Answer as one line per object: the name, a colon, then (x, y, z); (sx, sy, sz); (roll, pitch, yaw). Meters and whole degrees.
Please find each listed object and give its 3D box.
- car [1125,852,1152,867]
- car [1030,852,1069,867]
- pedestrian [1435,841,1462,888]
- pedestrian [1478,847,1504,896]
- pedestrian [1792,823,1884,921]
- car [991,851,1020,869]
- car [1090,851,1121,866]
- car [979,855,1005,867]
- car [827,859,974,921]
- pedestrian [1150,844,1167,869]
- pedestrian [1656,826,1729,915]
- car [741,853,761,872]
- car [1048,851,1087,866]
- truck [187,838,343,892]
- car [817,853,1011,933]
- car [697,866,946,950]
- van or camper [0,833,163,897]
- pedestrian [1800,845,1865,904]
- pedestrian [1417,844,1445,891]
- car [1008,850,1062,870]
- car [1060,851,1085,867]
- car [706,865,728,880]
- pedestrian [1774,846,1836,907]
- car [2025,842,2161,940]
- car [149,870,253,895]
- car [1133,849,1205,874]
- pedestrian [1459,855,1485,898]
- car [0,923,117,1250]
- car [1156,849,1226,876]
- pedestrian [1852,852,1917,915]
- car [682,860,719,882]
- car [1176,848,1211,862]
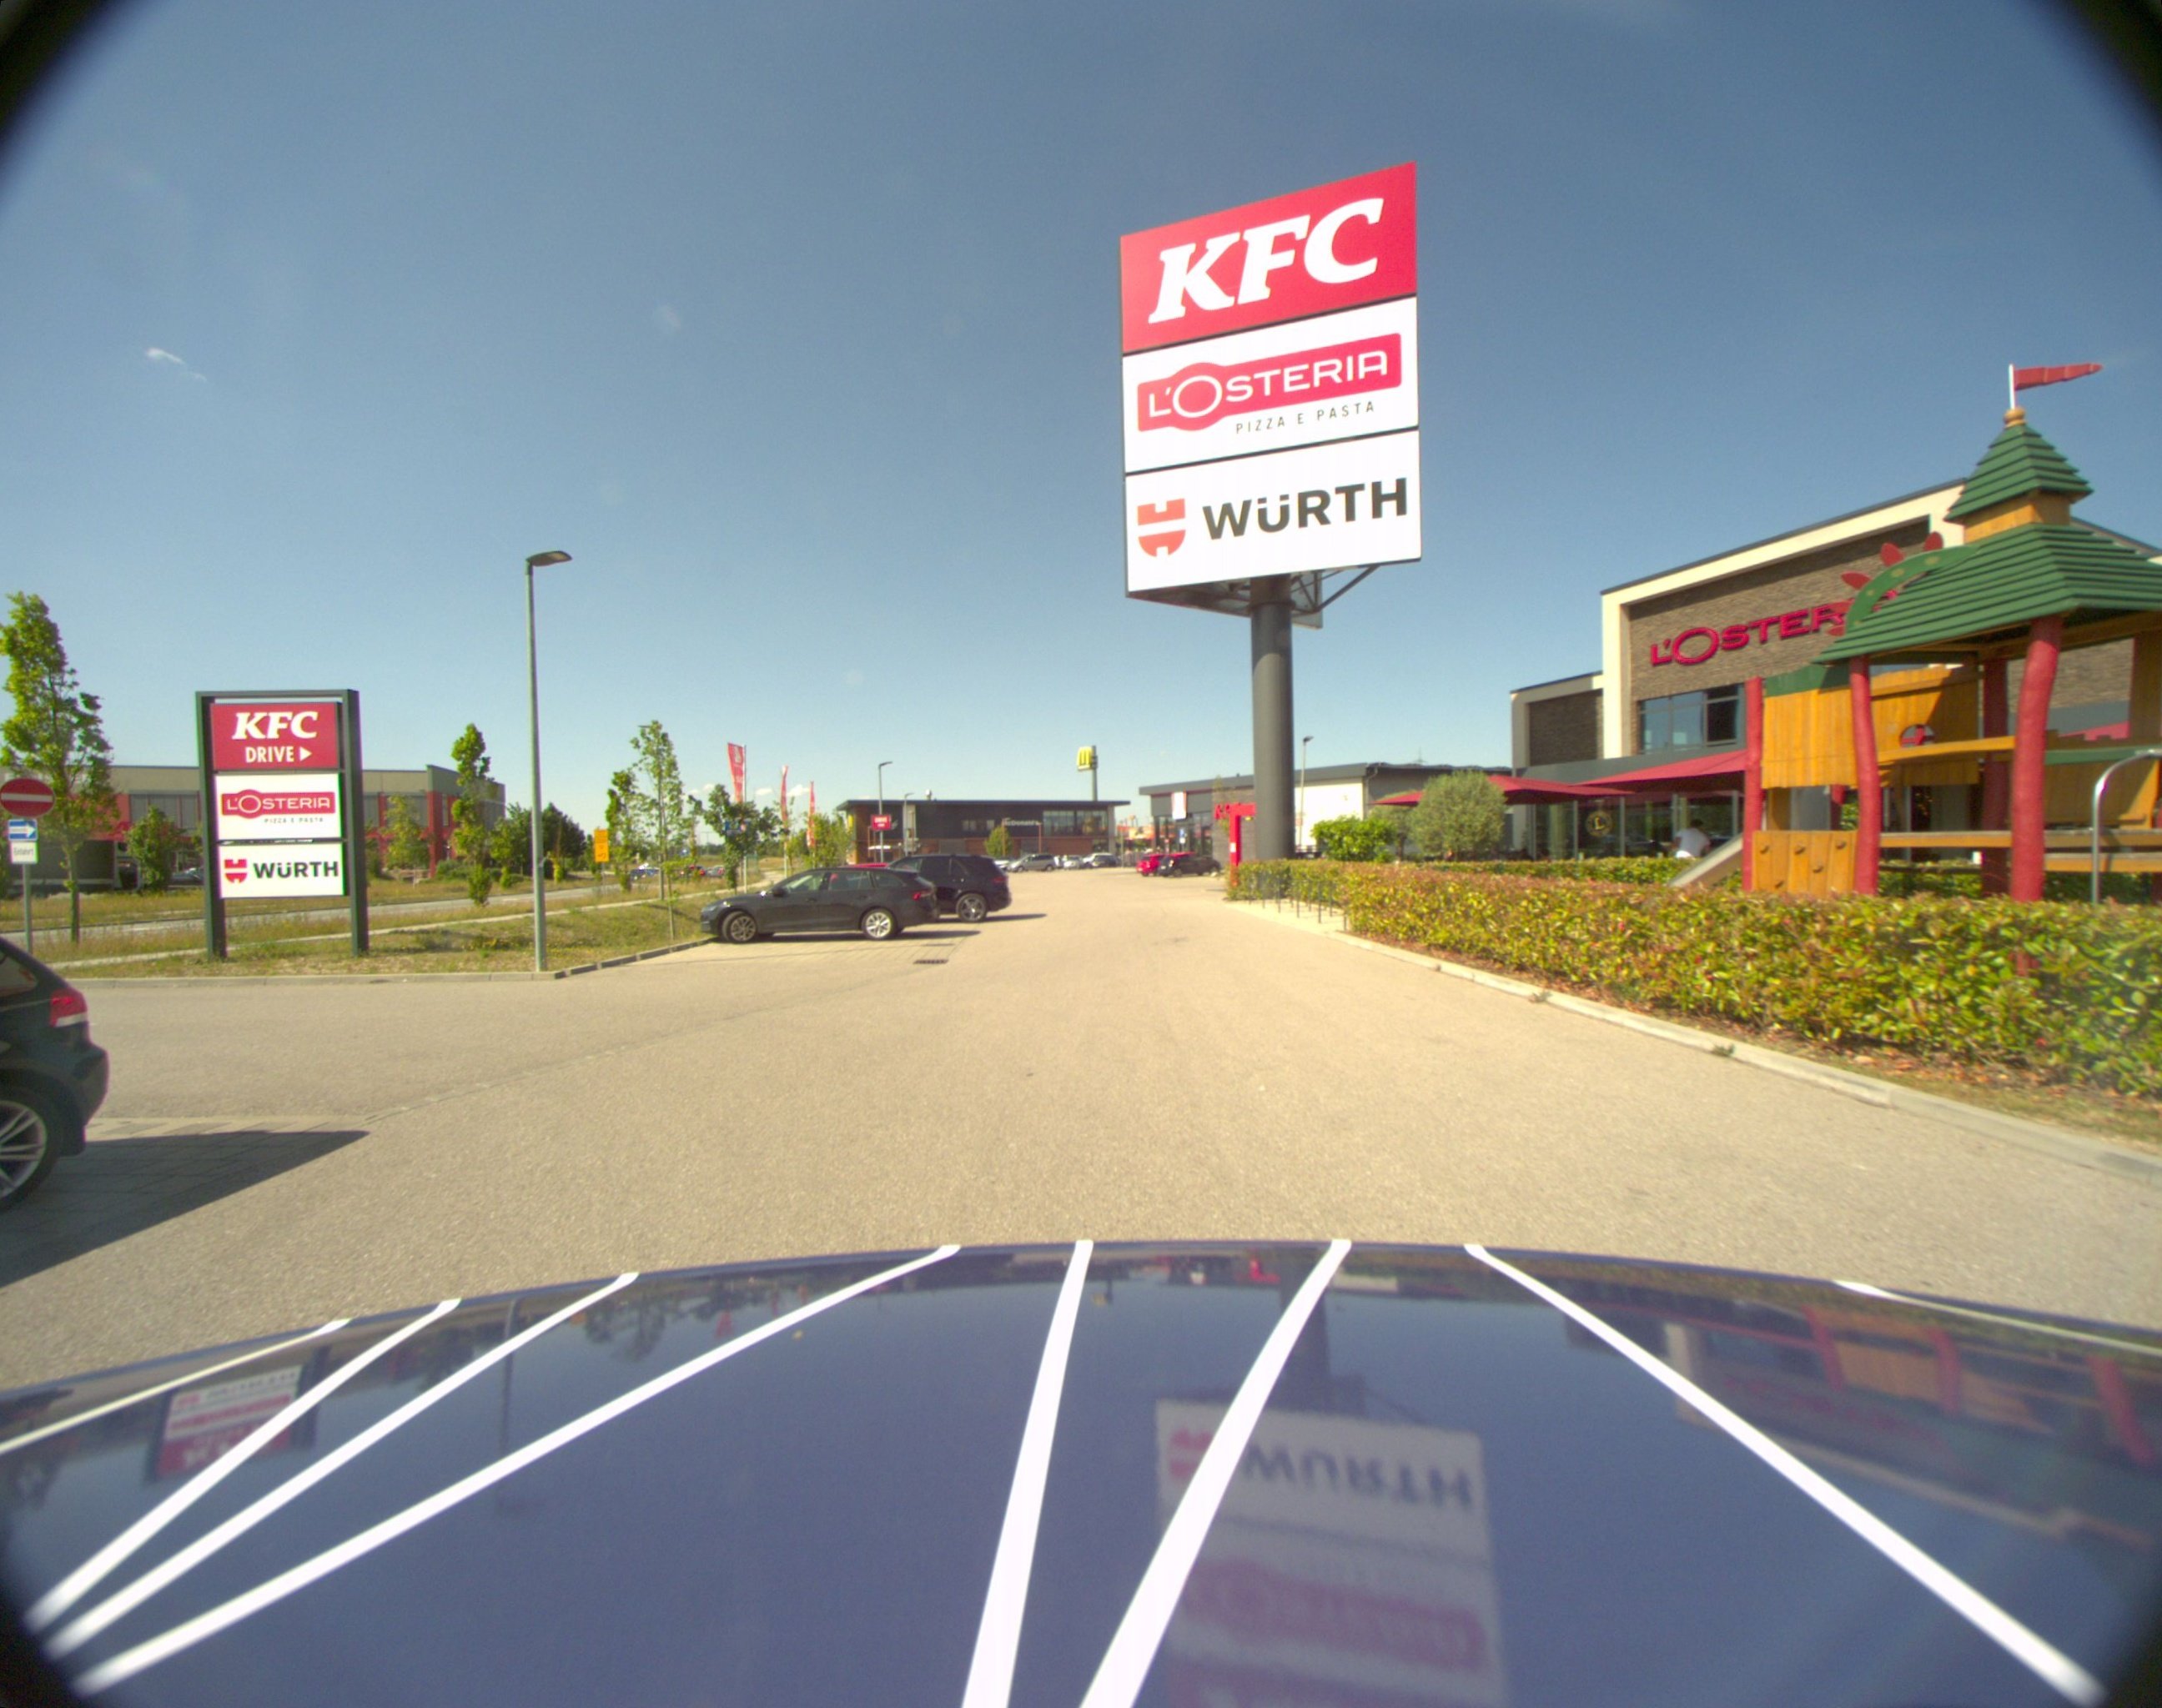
car: (6.150, 0.545, 80.749); (1.833, 1.451, 4.376); (-2, 0, 17)
car: (-3.569, 0.630, 86.153); (4.105, 1.484, 1.714); (-2, 1, 23)
pedestrian: (12.117, 0.345, 25.041); (0.526, 1.496, 0.568); (-2, 0, -25)
pedestrian: (11.624, 0.495, 21.515); (0.480, 1.359, 0.652); (-1, 0, 42)
pedestrian: (12.952, 0.303, 13.017); (0.785, 1.605, 0.762); (-2, 0, -5)
car: (-7.477, 0.554, 75.387); (1.973, 1.645, 4.209); (-2, 0, 7)
car: (2.648, 0.458, 80.463); (1.971, 1.478, 4.790); (-2, 0, 19)
car: (-11.420, 0.918, 97.820); (1.959, 1.457, 4.472); (-2, 0, 14)
car: (-5.339, 1.043, 22.984); (4.081, 1.599, 1.894); (-2, 0, -9)
pedestrian: (5.769, 0.212, 56.562); (0.727, 1.799, 0.992); (-3, 1, -26)
pedestrian: (12.084, 0.318, 15.038); (0.785, 1.677, 0.762); (-2, 0, -5)
car: (-40.415, 1.056, 93.097); (2.002, 2.184, 5.097); (-2, 0, -22)
car: (-1.528, 0.518, 87.809); (4.105, 1.506, 1.816); (-2, 1, 23)
truck: (-56.624, 0.723, 52.925); (6.837, 3.460, 2.764); (-2, 0, -18)
car: (-4.146, 0.952, 19.553); (4.589, 1.750, 1.894); (-2, 1, -6)
car: (-5.114, 1.042, 15.510); (4.454, 1.478, 1.876); (-1, 0, -6)
van or camper: (-53.681, 0.566, 39.053); (2.415, 3.083, 8.062); (-2, 0, 11)
pedestrian: (15.492, 0.418, 15.687); (0.709, 1.191, 0.617); (-2, 0, 7)
pedestrian: (11.363, 0.439, 24.664); (0.526, 1.496, 0.568); (-2, 0, -25)
car: (-4.355, 0.528, 71.648); (4.688, 1.738, 1.829); (-2, 1, -24)
car: (-0.874, 0.528, 78.040); (1.973, 1.517, 4.209); (-2, 0, 7)
car: (-43.513, 2.167, 90.845); (2.030, 1.707, 4.294); (-2, 0, -22)
pedestrian: (14.638, 0.445, 15.376); (0.710, 1.191, 0.616); (-2, 0, -15)
car: (15.544, 0.483, 9.837); (1.649, 1.301, 3.834); (-1, 0, -20)
car: (-55.840, 1.784, 48.285); (3.969, 1.451, 1.653); (-2, 0, -18)
car: (5.792, 0.493, 49.749); (4.407, 1.405, 1.737); (-3, 1, -25)
pedestrian: (10.882, 0.624, 21.154); (0.480, 1.178, 0.652); (-1, 0, 42)
car: (-5.837, 1.093, 1.828); (1.841, 1.468, 4.119); (0, 0, -2)
car: (6.815, 0.497, 47.175); (3.913, 1.498, 1.737); (-3, 1, -24)
pedestrian: (14.285, 0.519, 13.513); (0.578, 1.083, 0.544); (-2, 0, -7)
car: (-32.414, 1.405, 64.868); (2.001, 1.722, 4.752); (-2, 0, -17)
car: (13.986, 0.121, 94.570); (3.991, 1.543, 1.757); (-2, 0, 20)
